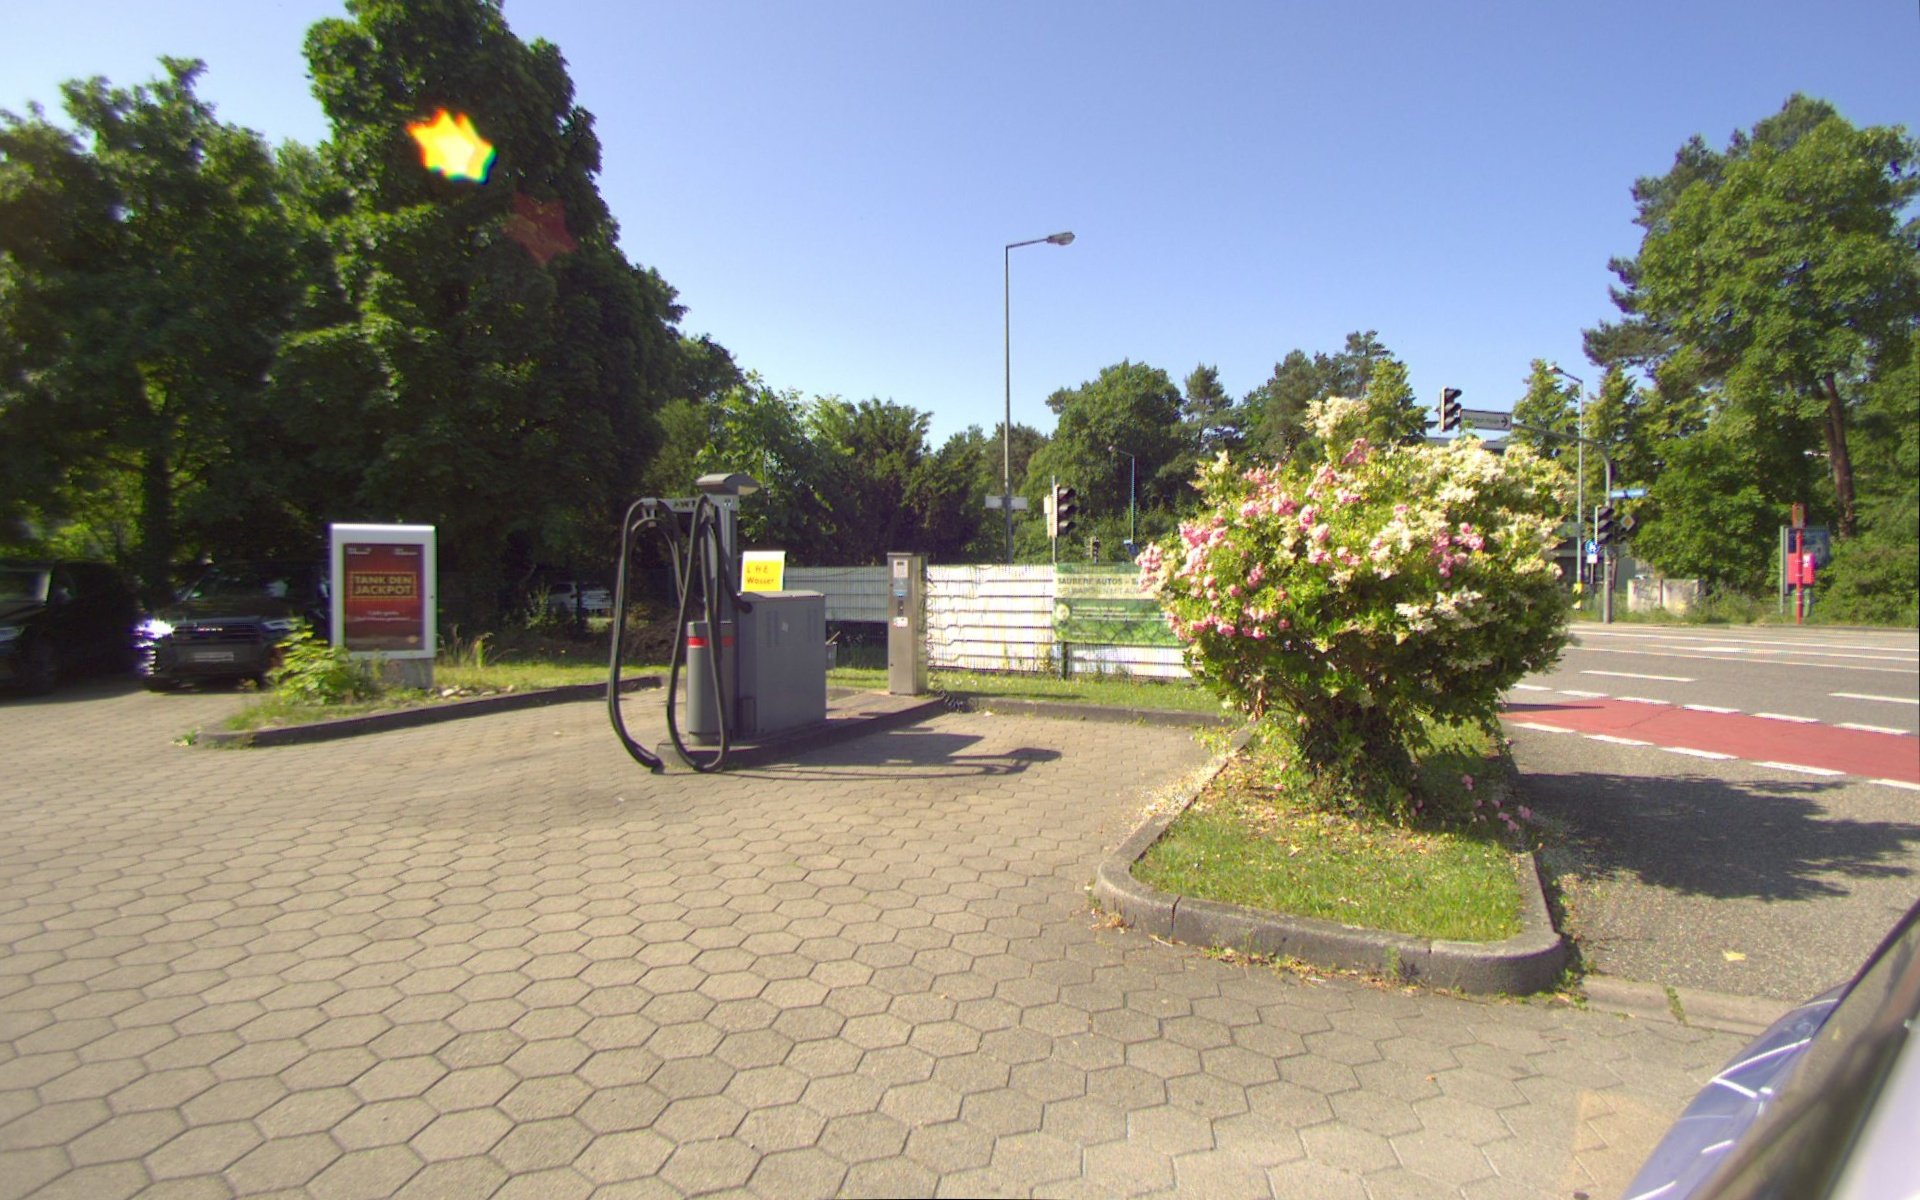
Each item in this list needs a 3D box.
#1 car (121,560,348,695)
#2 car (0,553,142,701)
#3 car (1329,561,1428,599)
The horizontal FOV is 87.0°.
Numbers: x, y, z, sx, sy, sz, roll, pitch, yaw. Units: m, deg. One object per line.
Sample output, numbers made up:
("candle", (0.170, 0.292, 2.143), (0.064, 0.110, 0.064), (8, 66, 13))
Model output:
("car", (-9.602, 0.263, 13.724), (1.649, 1.530, 3.948), (-1, 1, -23))
("car", (-12.109, 0.280, 12.825), (1.649, 1.649, 3.948), (-1, 2, -23))
("car", (21.105, -1.007, 51.011), (4.563, 1.800, 1.856), (0, 1, -21))
